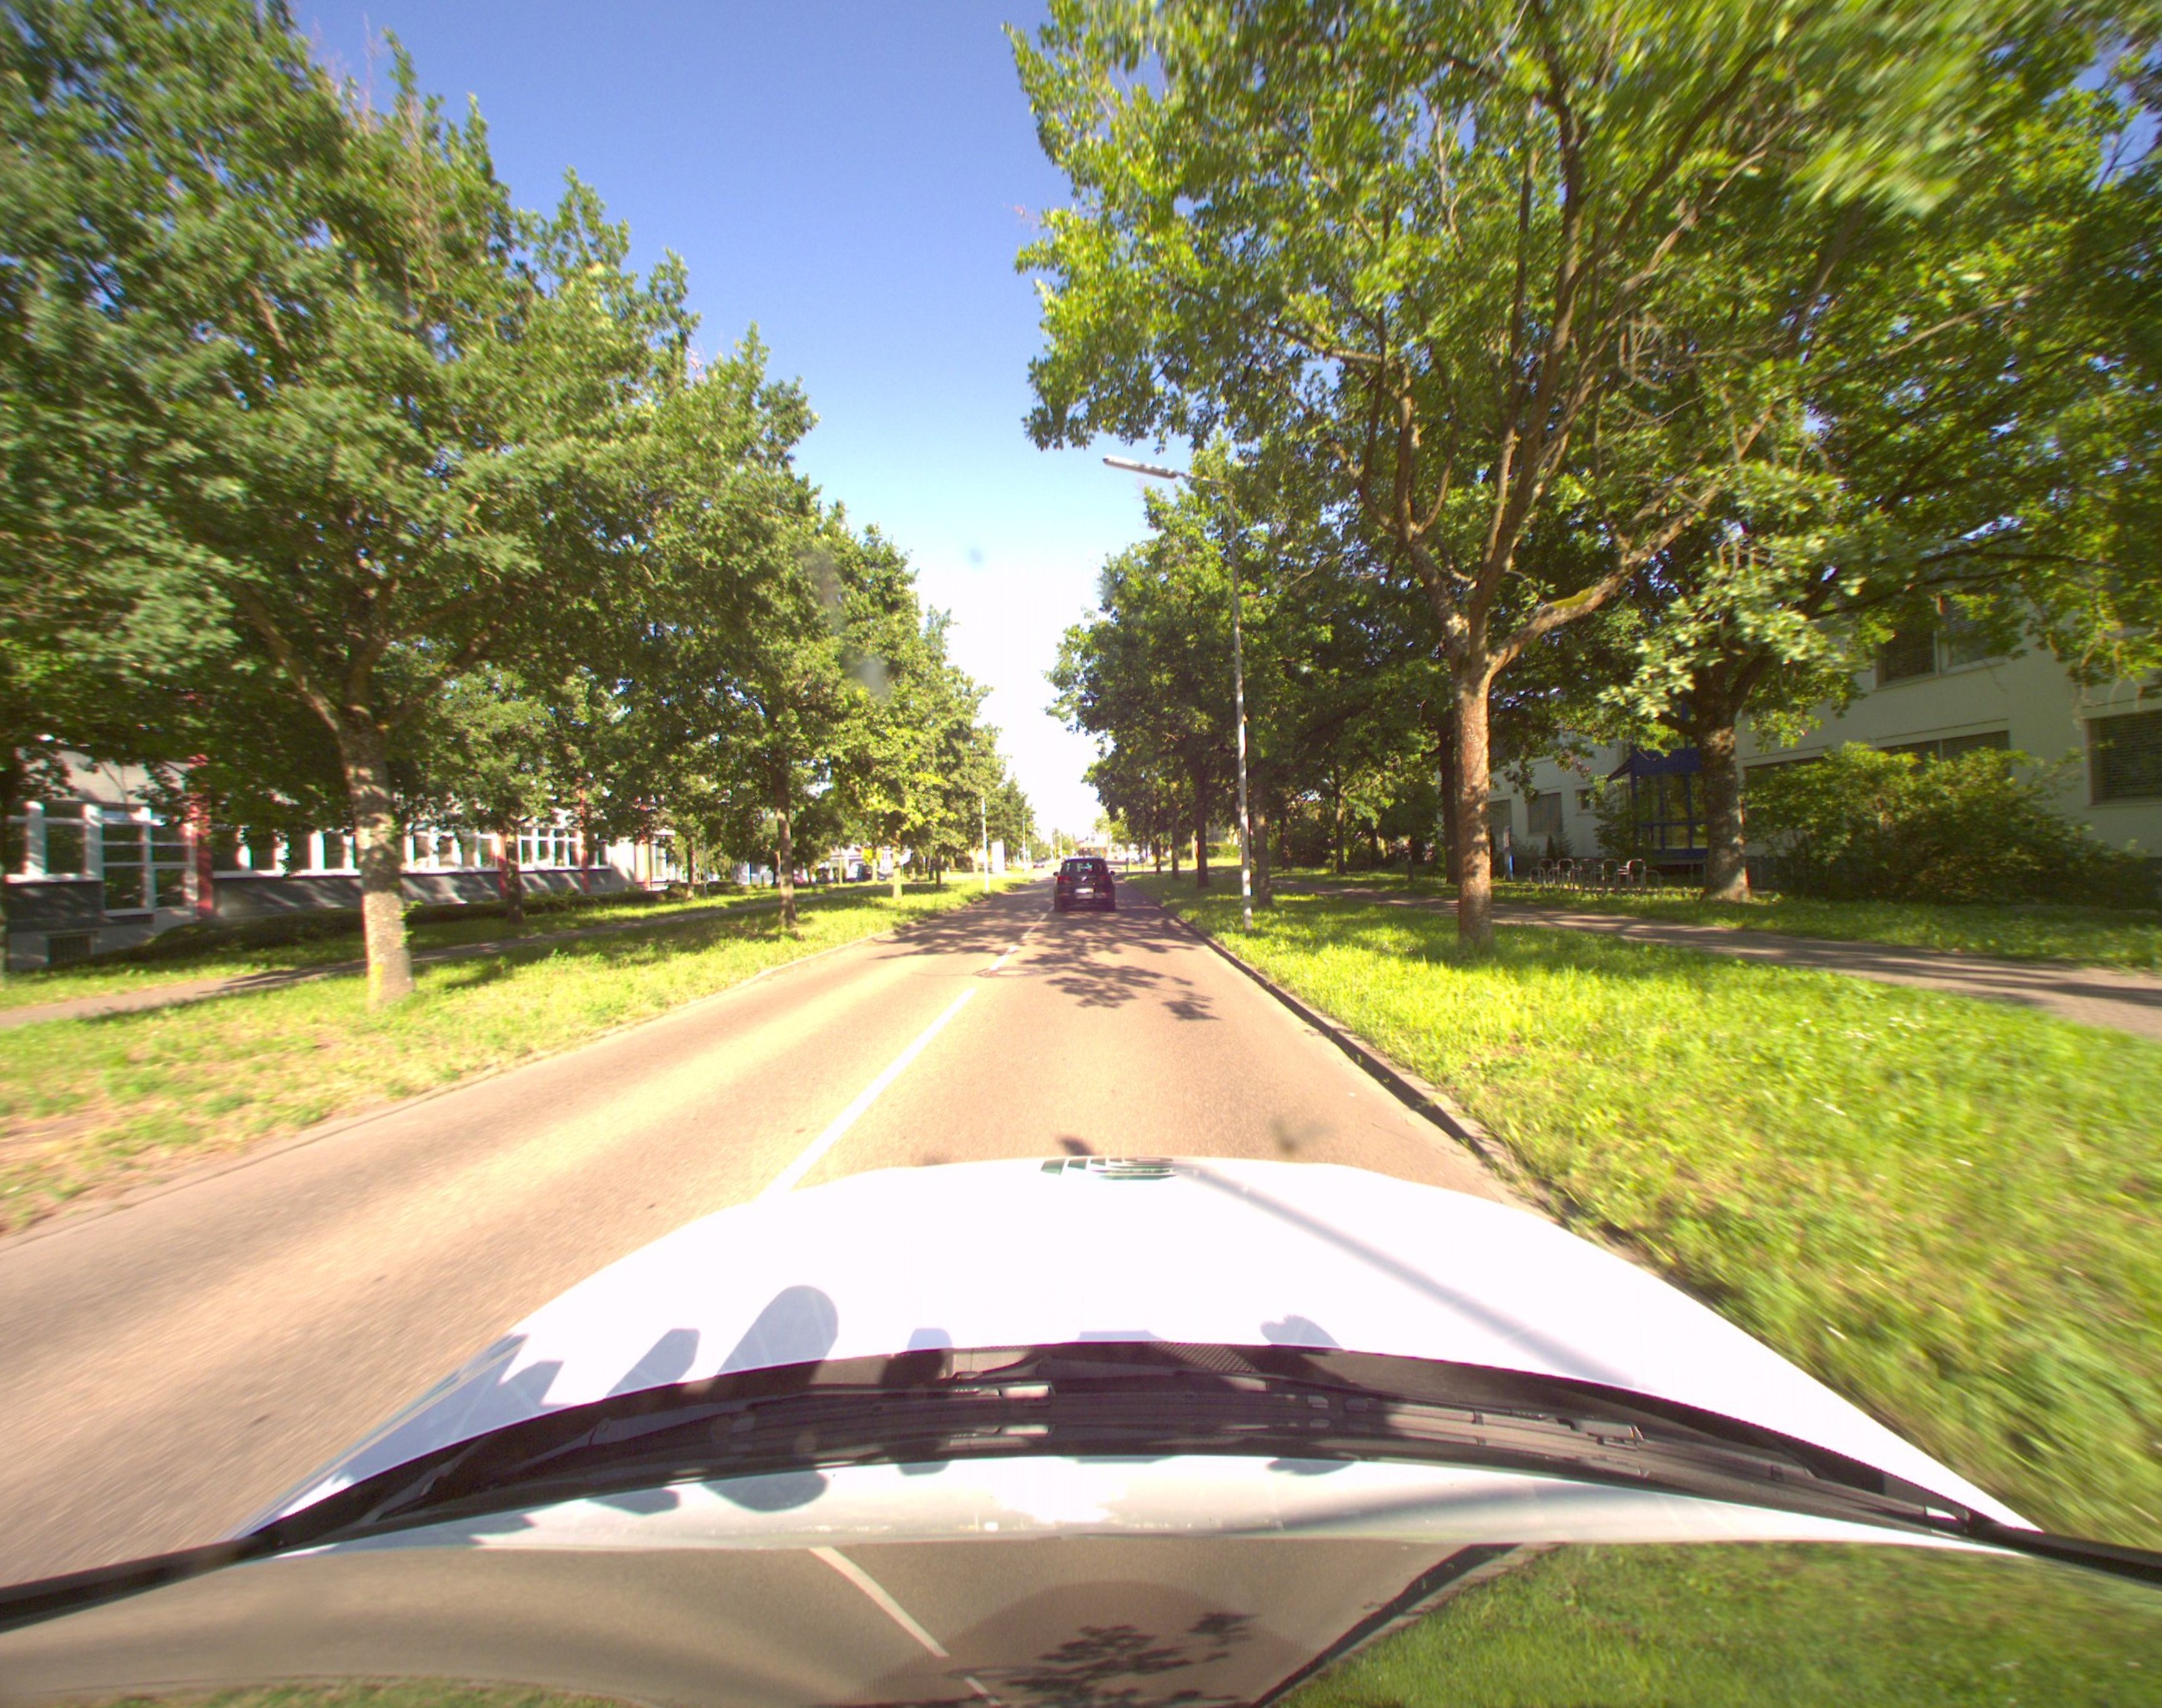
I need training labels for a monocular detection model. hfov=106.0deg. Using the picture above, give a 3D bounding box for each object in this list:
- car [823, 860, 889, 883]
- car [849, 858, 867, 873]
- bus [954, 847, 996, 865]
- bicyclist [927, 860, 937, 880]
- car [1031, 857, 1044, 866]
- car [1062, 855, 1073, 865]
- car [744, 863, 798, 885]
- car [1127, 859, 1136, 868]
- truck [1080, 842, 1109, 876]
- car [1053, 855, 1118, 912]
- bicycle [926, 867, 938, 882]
[{"bbox_3d":[-21.192,1.668,76.892,5.788,2.013,1.994,-1,0,-9],"label":"car"},{"bbox_3d":[-35.497,1.764,129.879,1.990,2.236,3.993,-2,0,-5],"label":"car"},{"bbox_3d":[-23.362,0.341,179.753,9.098,3.778,3.378,-1,0,-8],"label":"bus"},{"bbox_3d":[-14.092,1.492,76.949,0.684,1.831,0.934,-1,0,1],"label":"bicyclist"},{"bbox_3d":[-7.440,1.262,139.530,1.987,1.455,4.000,-2,0,1],"label":"car"},{"bbox_3d":[-2.680,1.129,157.760,1.990,2.013,3.994,-1,0,-4],"label":"car"},{"bbox_3d":[-24.157,1.567,63.584,3.341,1.642,2.004,-1,0,6],"label":"car"},{"bbox_3d":[8.601,1.591,138.530,1.446,1.406,2.857,-1,0,2],"label":"car"},{"bbox_3d":[1.431,0.499,84.110,2.501,3.243,8.160,-3,0,3],"label":"truck"},{"bbox_3d":[0.224,0.862,25.659,1.774,1.633,4.004,-1,0,4],"label":"car"},{"bbox_3d":[-14.070,1.938,77.011,0.714,1.321,1.992,-1,0,1],"label":"bicycle"}]
